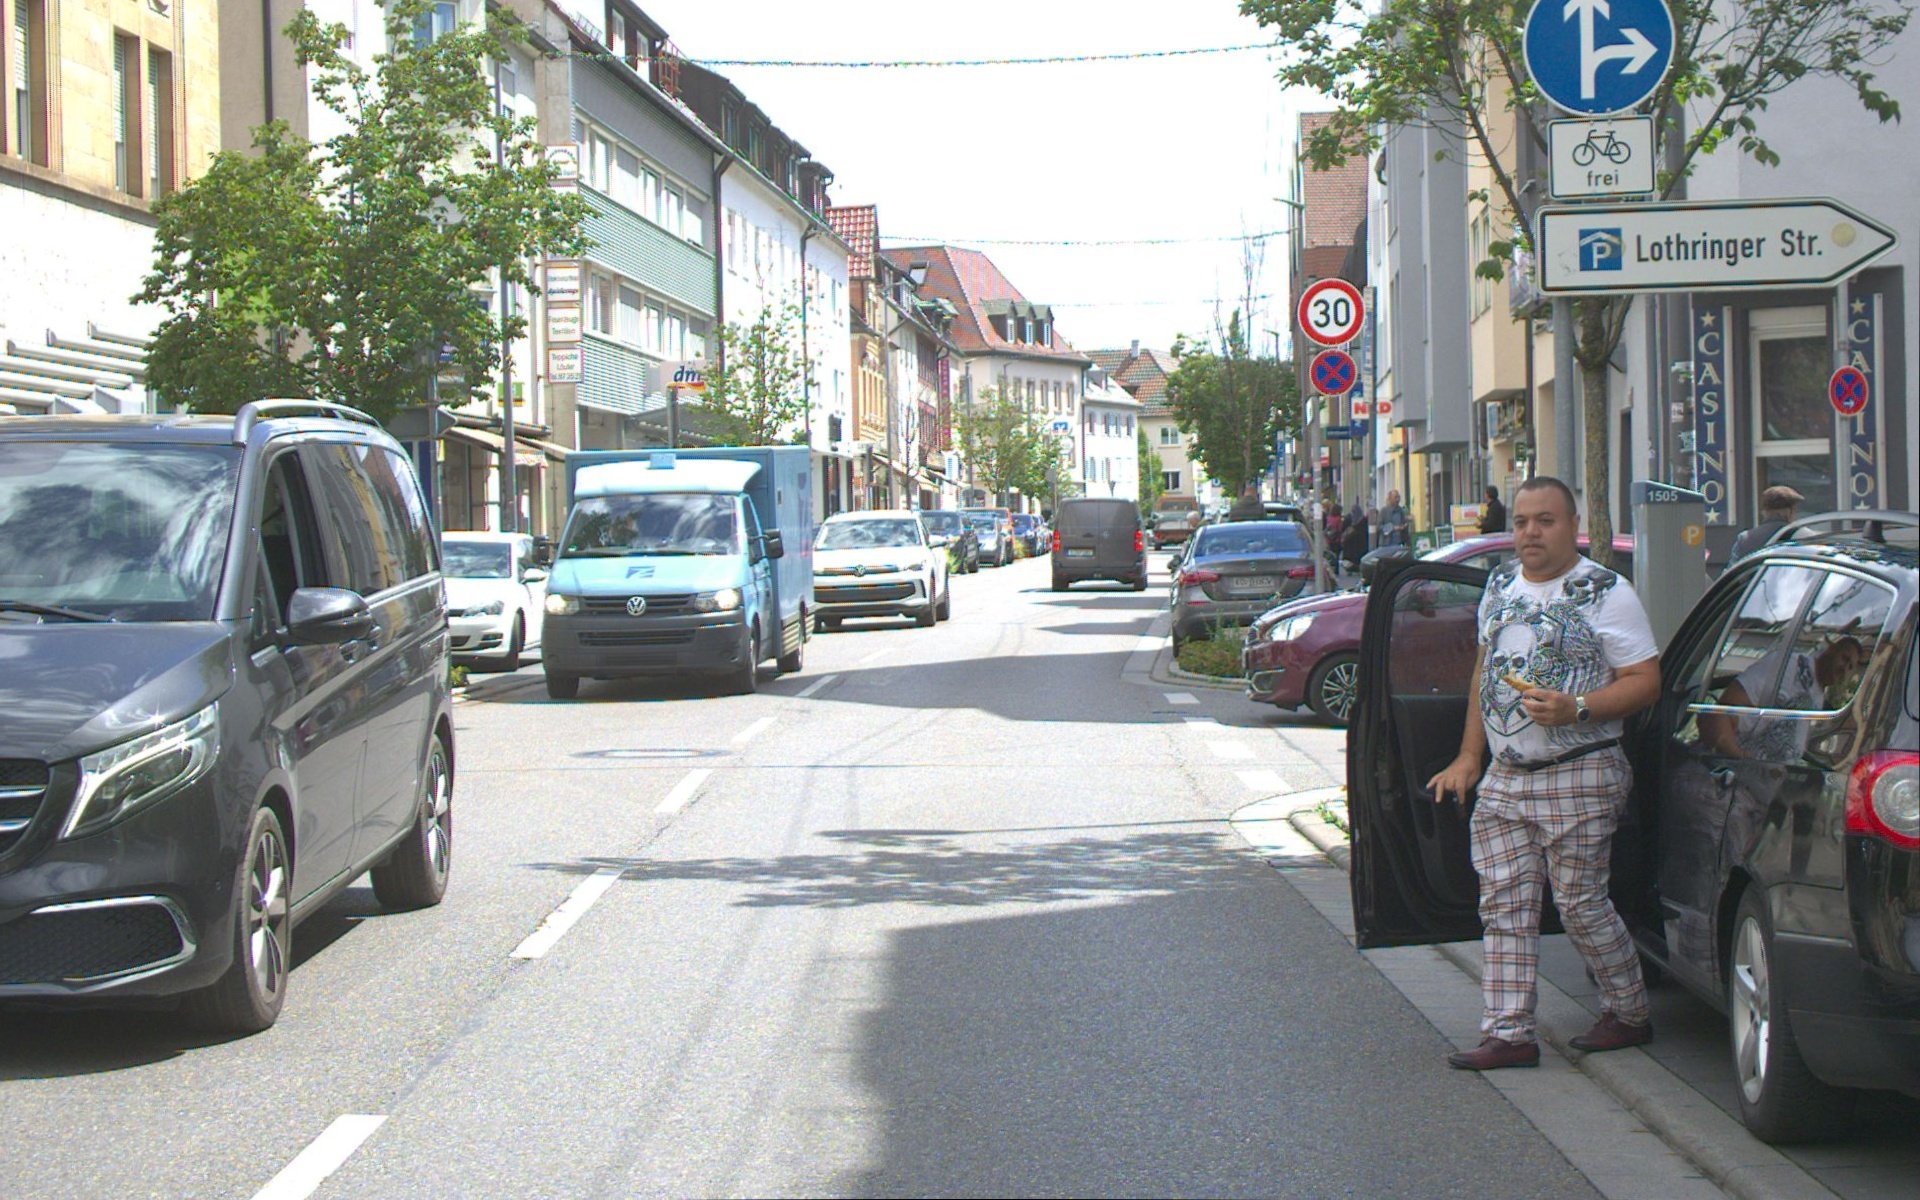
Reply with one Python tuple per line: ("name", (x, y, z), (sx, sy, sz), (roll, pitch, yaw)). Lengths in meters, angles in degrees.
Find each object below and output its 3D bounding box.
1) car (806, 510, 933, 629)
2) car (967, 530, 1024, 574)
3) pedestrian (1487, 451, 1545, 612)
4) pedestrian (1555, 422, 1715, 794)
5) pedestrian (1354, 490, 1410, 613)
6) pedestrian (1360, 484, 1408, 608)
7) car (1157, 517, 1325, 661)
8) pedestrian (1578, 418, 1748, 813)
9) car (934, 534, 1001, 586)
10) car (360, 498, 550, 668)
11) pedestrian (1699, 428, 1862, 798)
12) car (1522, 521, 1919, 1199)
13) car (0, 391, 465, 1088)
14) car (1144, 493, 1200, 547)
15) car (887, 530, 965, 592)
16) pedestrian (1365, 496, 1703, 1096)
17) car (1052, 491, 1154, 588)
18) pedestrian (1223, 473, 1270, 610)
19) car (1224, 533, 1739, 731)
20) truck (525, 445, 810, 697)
("car", (-1.248, -0.455, 48.228), (1.697, 1.579, 3.958), (0, 1, -1))
("car", (1.284, -1.804, 127.398), (1.993, 1.579, 4.000), (0, 1, -1))
("pedestrian", (6.584, -0.814, 40.727), (0.594, 1.883, 0.572), (1, 1, 2))
("pedestrian", (3.709, 0.036, 18.928), (0.689, 2.007, 0.724), (0, 1, -4))
("pedestrian", (6.543, -0.752, 53.273), (0.570, 1.883, 0.646), (0, 1, -27))
("pedestrian", (6.870, -0.880, 55.712), (0.682, 2.007, 0.599), (0, 1, -2))
("car", (3.002, -0.155, 37.215), (1.520, 1.429, 3.370), (-1, 2, 0))
("pedestrian", (3.643, 0.072, 17.849), (0.689, 2.007, 0.724), (0, 1, -4))
("car", (0.204, -1.255, 107.146), (1.993, 1.579, 4.000), (0, 1, -1))
("car", (-5.373, -0.237, 36.981), (1.709, 1.706, 4.001), (0, 2, -4))
("pedestrian", (4.540, 0.061, 19.057), (0.689, 2.007, 0.724), (0, 1, -4))
("car", (2.641, 0.532, 9.116), (1.605, 1.429, 4.175), (-1, 2, 0))
("car", (-2.899, 0.311, 11.320), (1.835, 1.828, 4.570), (0, 2, 0))
("car", (9.212, -3.451, 149.173), (2.065, 2.293, 4.223), (1, 1, 8))
("car", (-0.917, -1.042, 90.392), (1.993, 1.579, 4.000), (0, 1, -1))
("pedestrian", (1.600, 0.513, 9.566), (0.666, 1.588, 0.677), (1, 1, 37))
("car", (2.920, -1.259, 69.793), (1.972, 1.869, 5.037), (-1, 2, 3))
("pedestrian", (4.212, -0.866, 50.611), (0.682, 2.007, 0.599), (0, 1, 4))
("car", (3.885, 0.226, 26.009), (3.621, 1.408, 1.590), (1, 1, -1))
("truck", (-2.659, -0.334, 32.528), (2.066, 2.157, 5.294), (-1, 2, 2))
